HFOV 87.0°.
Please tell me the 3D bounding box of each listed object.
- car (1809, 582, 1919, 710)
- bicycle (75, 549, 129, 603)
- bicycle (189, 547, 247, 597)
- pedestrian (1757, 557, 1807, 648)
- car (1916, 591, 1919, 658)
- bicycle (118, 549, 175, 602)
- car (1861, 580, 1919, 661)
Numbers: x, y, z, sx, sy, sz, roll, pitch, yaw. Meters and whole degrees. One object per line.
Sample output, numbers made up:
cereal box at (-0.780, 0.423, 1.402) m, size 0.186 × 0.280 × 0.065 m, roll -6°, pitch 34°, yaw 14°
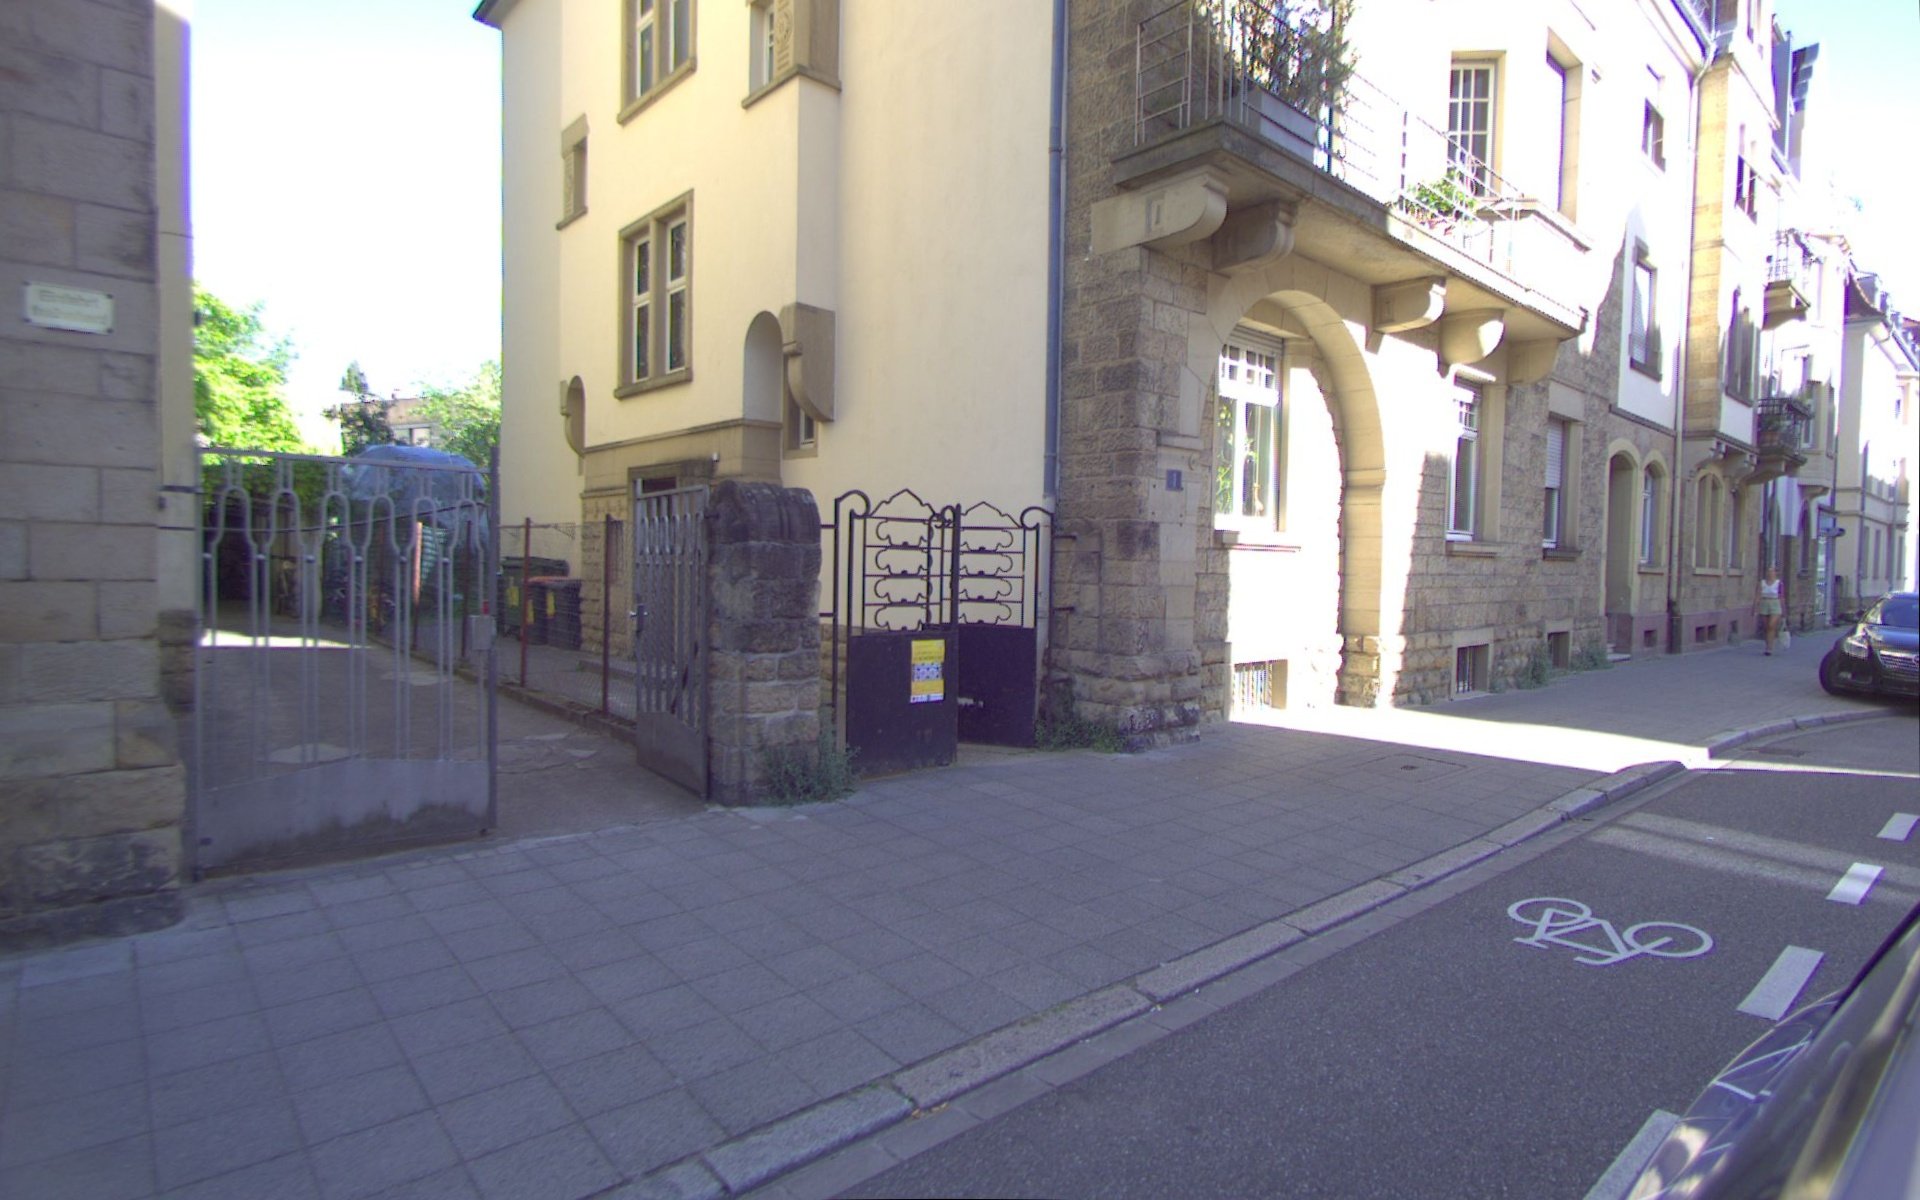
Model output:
car at (13.181, 0.556, 13.683) m, size 3.929 × 1.557 × 1.997 m, roll 0°, pitch 0°, yaw -40°
bicycle at (-17.470, -0.498, 20.590) m, size 1.981 × 1.022 × 0.643 m, roll 4°, pitch 3°, yaw 43°
bicycle at (-16.266, -0.640, 22.171) m, size 1.981 × 1.021 × 0.643 m, roll 4°, pitch 5°, yaw 43°
pedestrian at (16.317, 0.033, 20.096) m, size 0.685 × 1.743 × 0.578 m, roll -1°, pitch 3°, yaw -41°
car at (21.382, 0.493, 21.134) m, size 3.755 × 1.362 × 1.830 m, roll 0°, pitch 0°, yaw -43°
bicycle at (-16.942, -0.532, 21.055) m, size 1.981 × 1.021 × 0.643 m, roll 4°, pitch 5°, yaw 43°
car at (17.725, 0.337, 18.158) m, size 3.929 × 1.362 × 1.832 m, roll 0°, pitch 0°, yaw -41°
